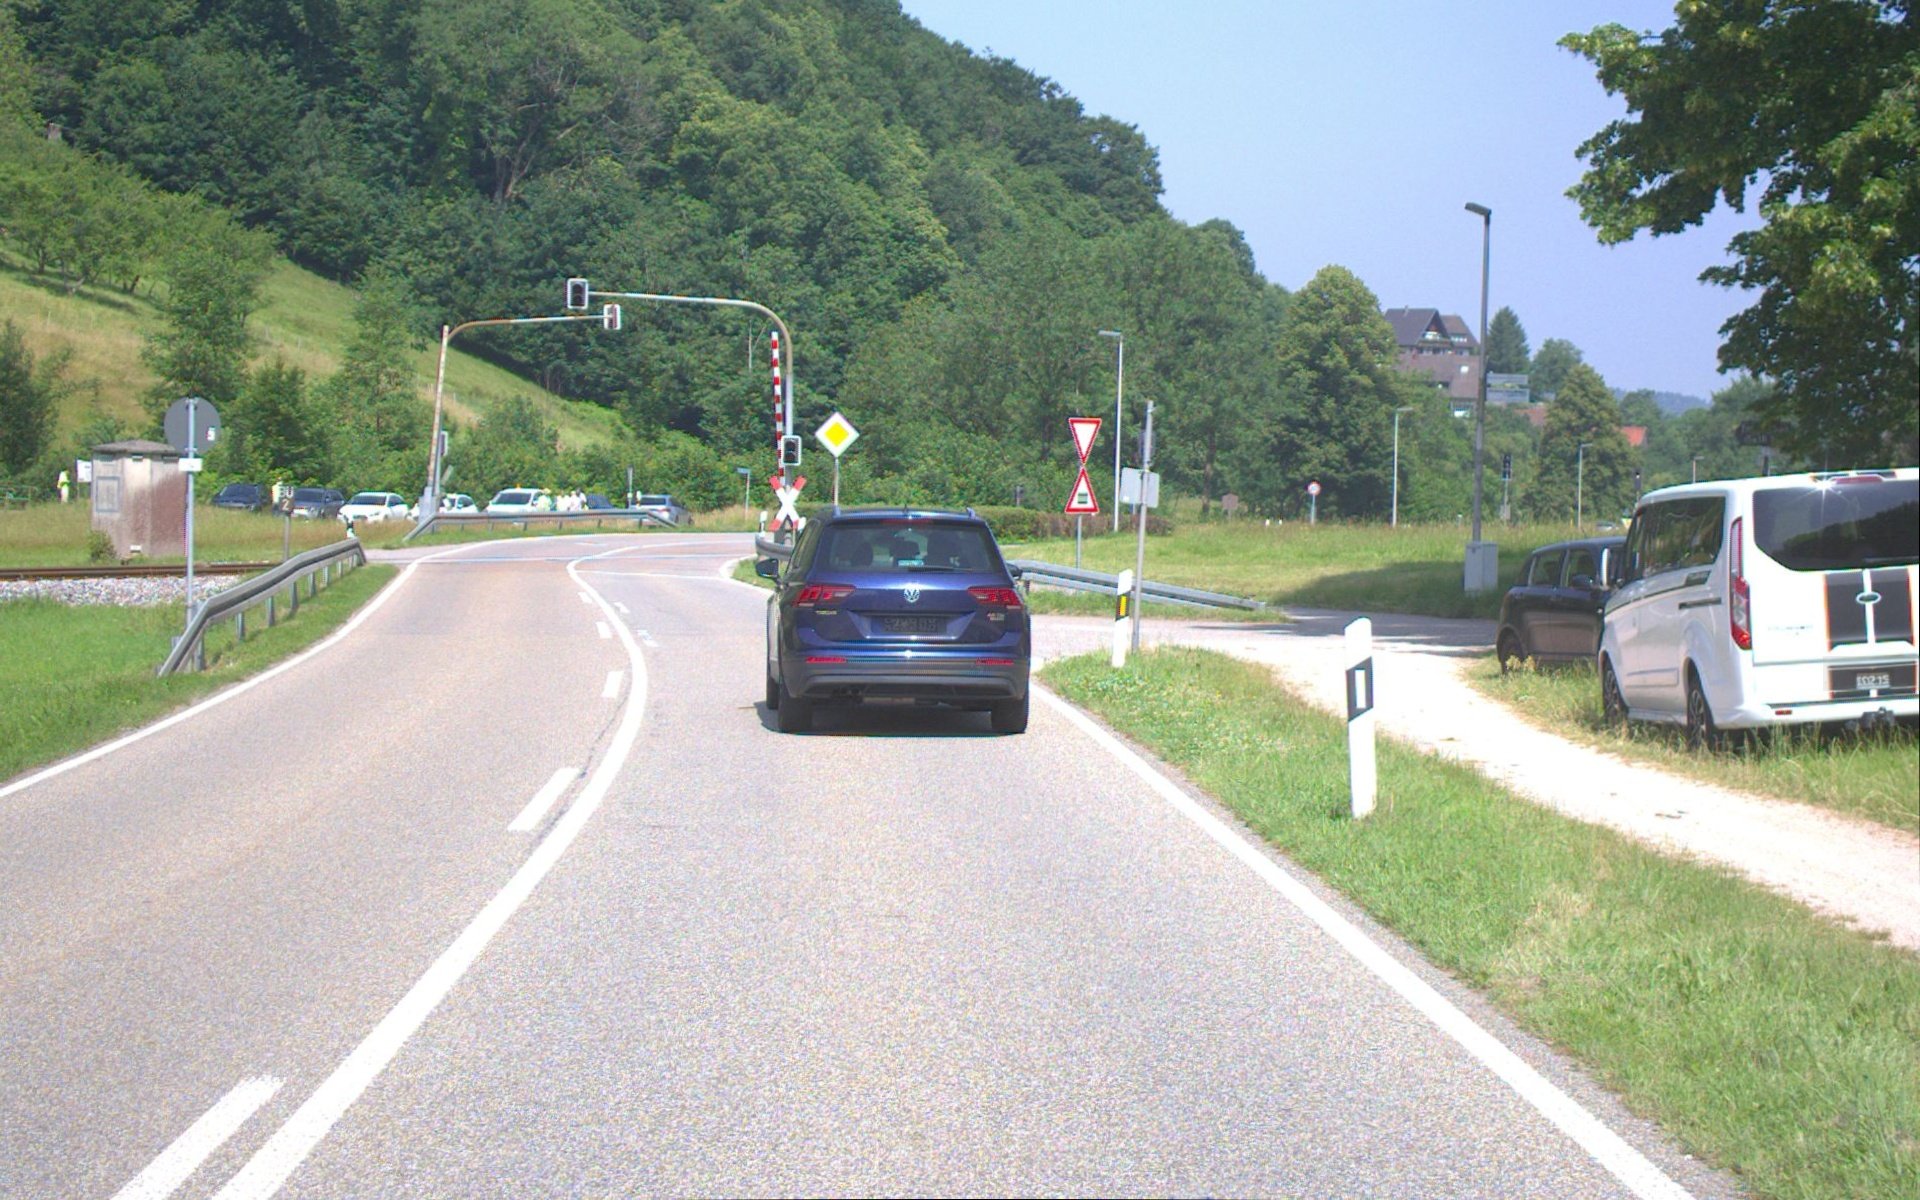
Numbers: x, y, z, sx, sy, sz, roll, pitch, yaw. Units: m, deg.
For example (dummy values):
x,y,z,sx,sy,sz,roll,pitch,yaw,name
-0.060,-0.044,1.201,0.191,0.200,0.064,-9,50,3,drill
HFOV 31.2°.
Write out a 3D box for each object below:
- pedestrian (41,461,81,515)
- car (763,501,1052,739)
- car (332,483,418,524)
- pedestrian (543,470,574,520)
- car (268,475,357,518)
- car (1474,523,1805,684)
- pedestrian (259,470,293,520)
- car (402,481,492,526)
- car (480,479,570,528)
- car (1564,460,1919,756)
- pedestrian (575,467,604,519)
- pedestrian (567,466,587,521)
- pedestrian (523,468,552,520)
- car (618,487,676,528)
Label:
x,y,z,sx,sy,sz,roll,pitch,yaw,name
-32.848,-4.081,125.623,1.127,1.962,0.861,1,1,24,pedestrian
-0.480,0.091,25.919,1.852,1.643,4.141,0,1,-5,car
-21.991,-3.633,129.432,1.994,1.495,4.521,1,2,7,car
-14.324,-3.737,122.525,0.770,1.790,0.792,1,2,36,pedestrian
-24.447,-3.919,130.014,1.994,1.495,4.521,3,2,7,car
6.611,0.023,33.816,1.673,1.452,3.717,-2,1,-15,car
-24.586,-3.785,123.535,0.954,1.788,1.000,0,2,5,pedestrian
-19.283,-3.621,129.487,1.994,1.635,4.900,1,2,9,car
-16.387,-3.645,129.680,1.872,1.776,4.770,2,2,12,car
5.956,-0.025,25.119,1.999,1.842,4.869,-4,2,-1,car
-13.217,-3.808,122.628,0.648,1.852,0.769,1,2,42,pedestrian
-13.618,-3.788,122.104,0.660,1.948,0.533,0,2,-1,pedestrian
-14.924,-3.748,121.429,0.788,1.836,0.698,1,1,20,pedestrian
-11.582,-3.421,127.289,1.826,1.495,4.278,0,1,-1,car
